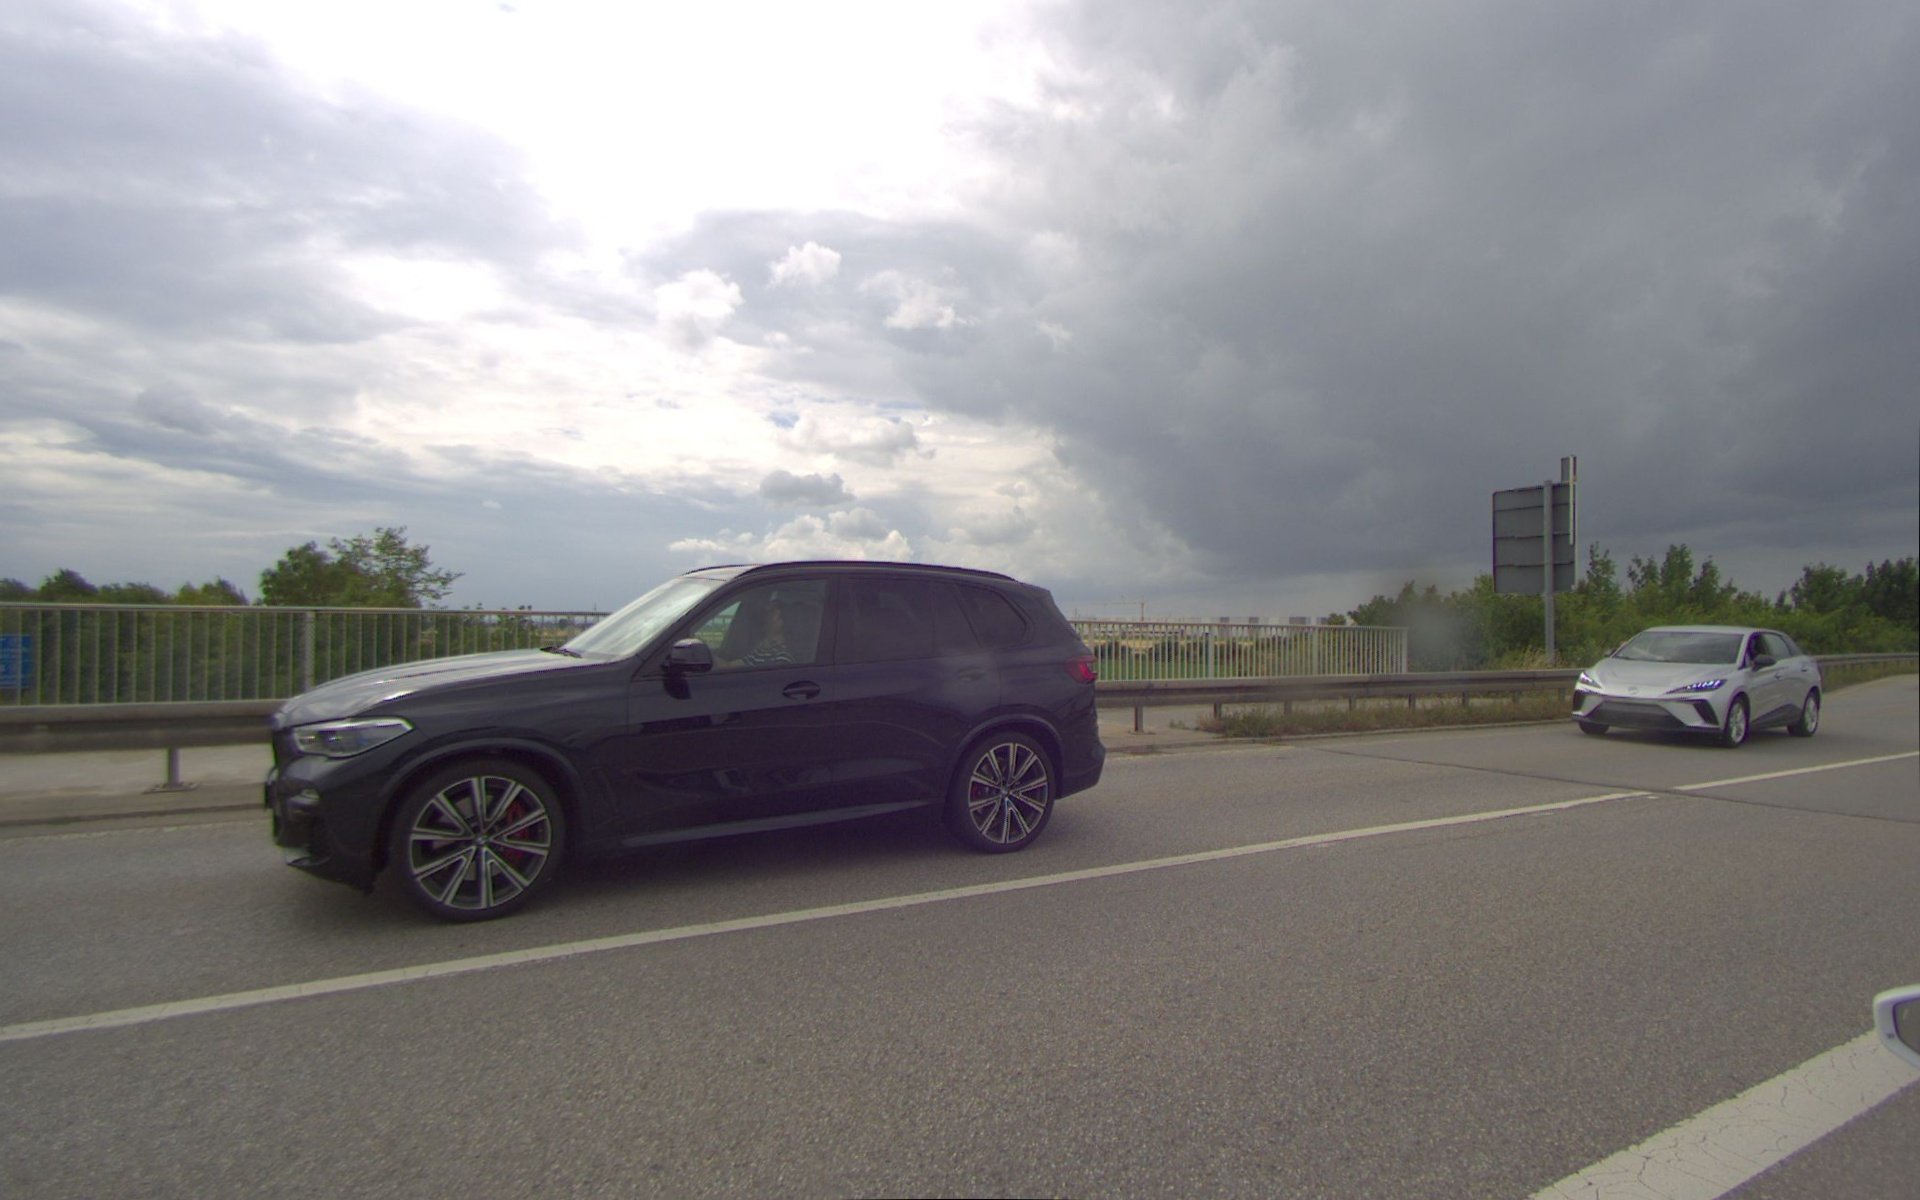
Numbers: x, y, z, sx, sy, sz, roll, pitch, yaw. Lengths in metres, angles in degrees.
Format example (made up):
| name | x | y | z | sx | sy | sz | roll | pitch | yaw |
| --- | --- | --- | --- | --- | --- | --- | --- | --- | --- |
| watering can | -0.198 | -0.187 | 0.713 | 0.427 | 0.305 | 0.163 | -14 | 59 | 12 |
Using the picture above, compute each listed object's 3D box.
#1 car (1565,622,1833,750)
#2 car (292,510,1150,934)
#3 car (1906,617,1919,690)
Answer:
| name | x | y | z | sx | sy | sz | roll | pitch | yaw |
| --- | --- | --- | --- | --- | --- | --- | --- | --- | --- |
| car | 10.251 | 1.100 | 13.846 | 4.236 | 1.506 | 1.701 | 2 | -1 | -35 |
| car | -1.261 | 0.570 | 6.267 | 4.709 | 1.755 | 1.983 | 2 | -1 | -32 |
| car | 27.080 | 1.454 | 26.822 | 4.777 | 1.899 | 1.939 | 2 | -1 | -38 |
